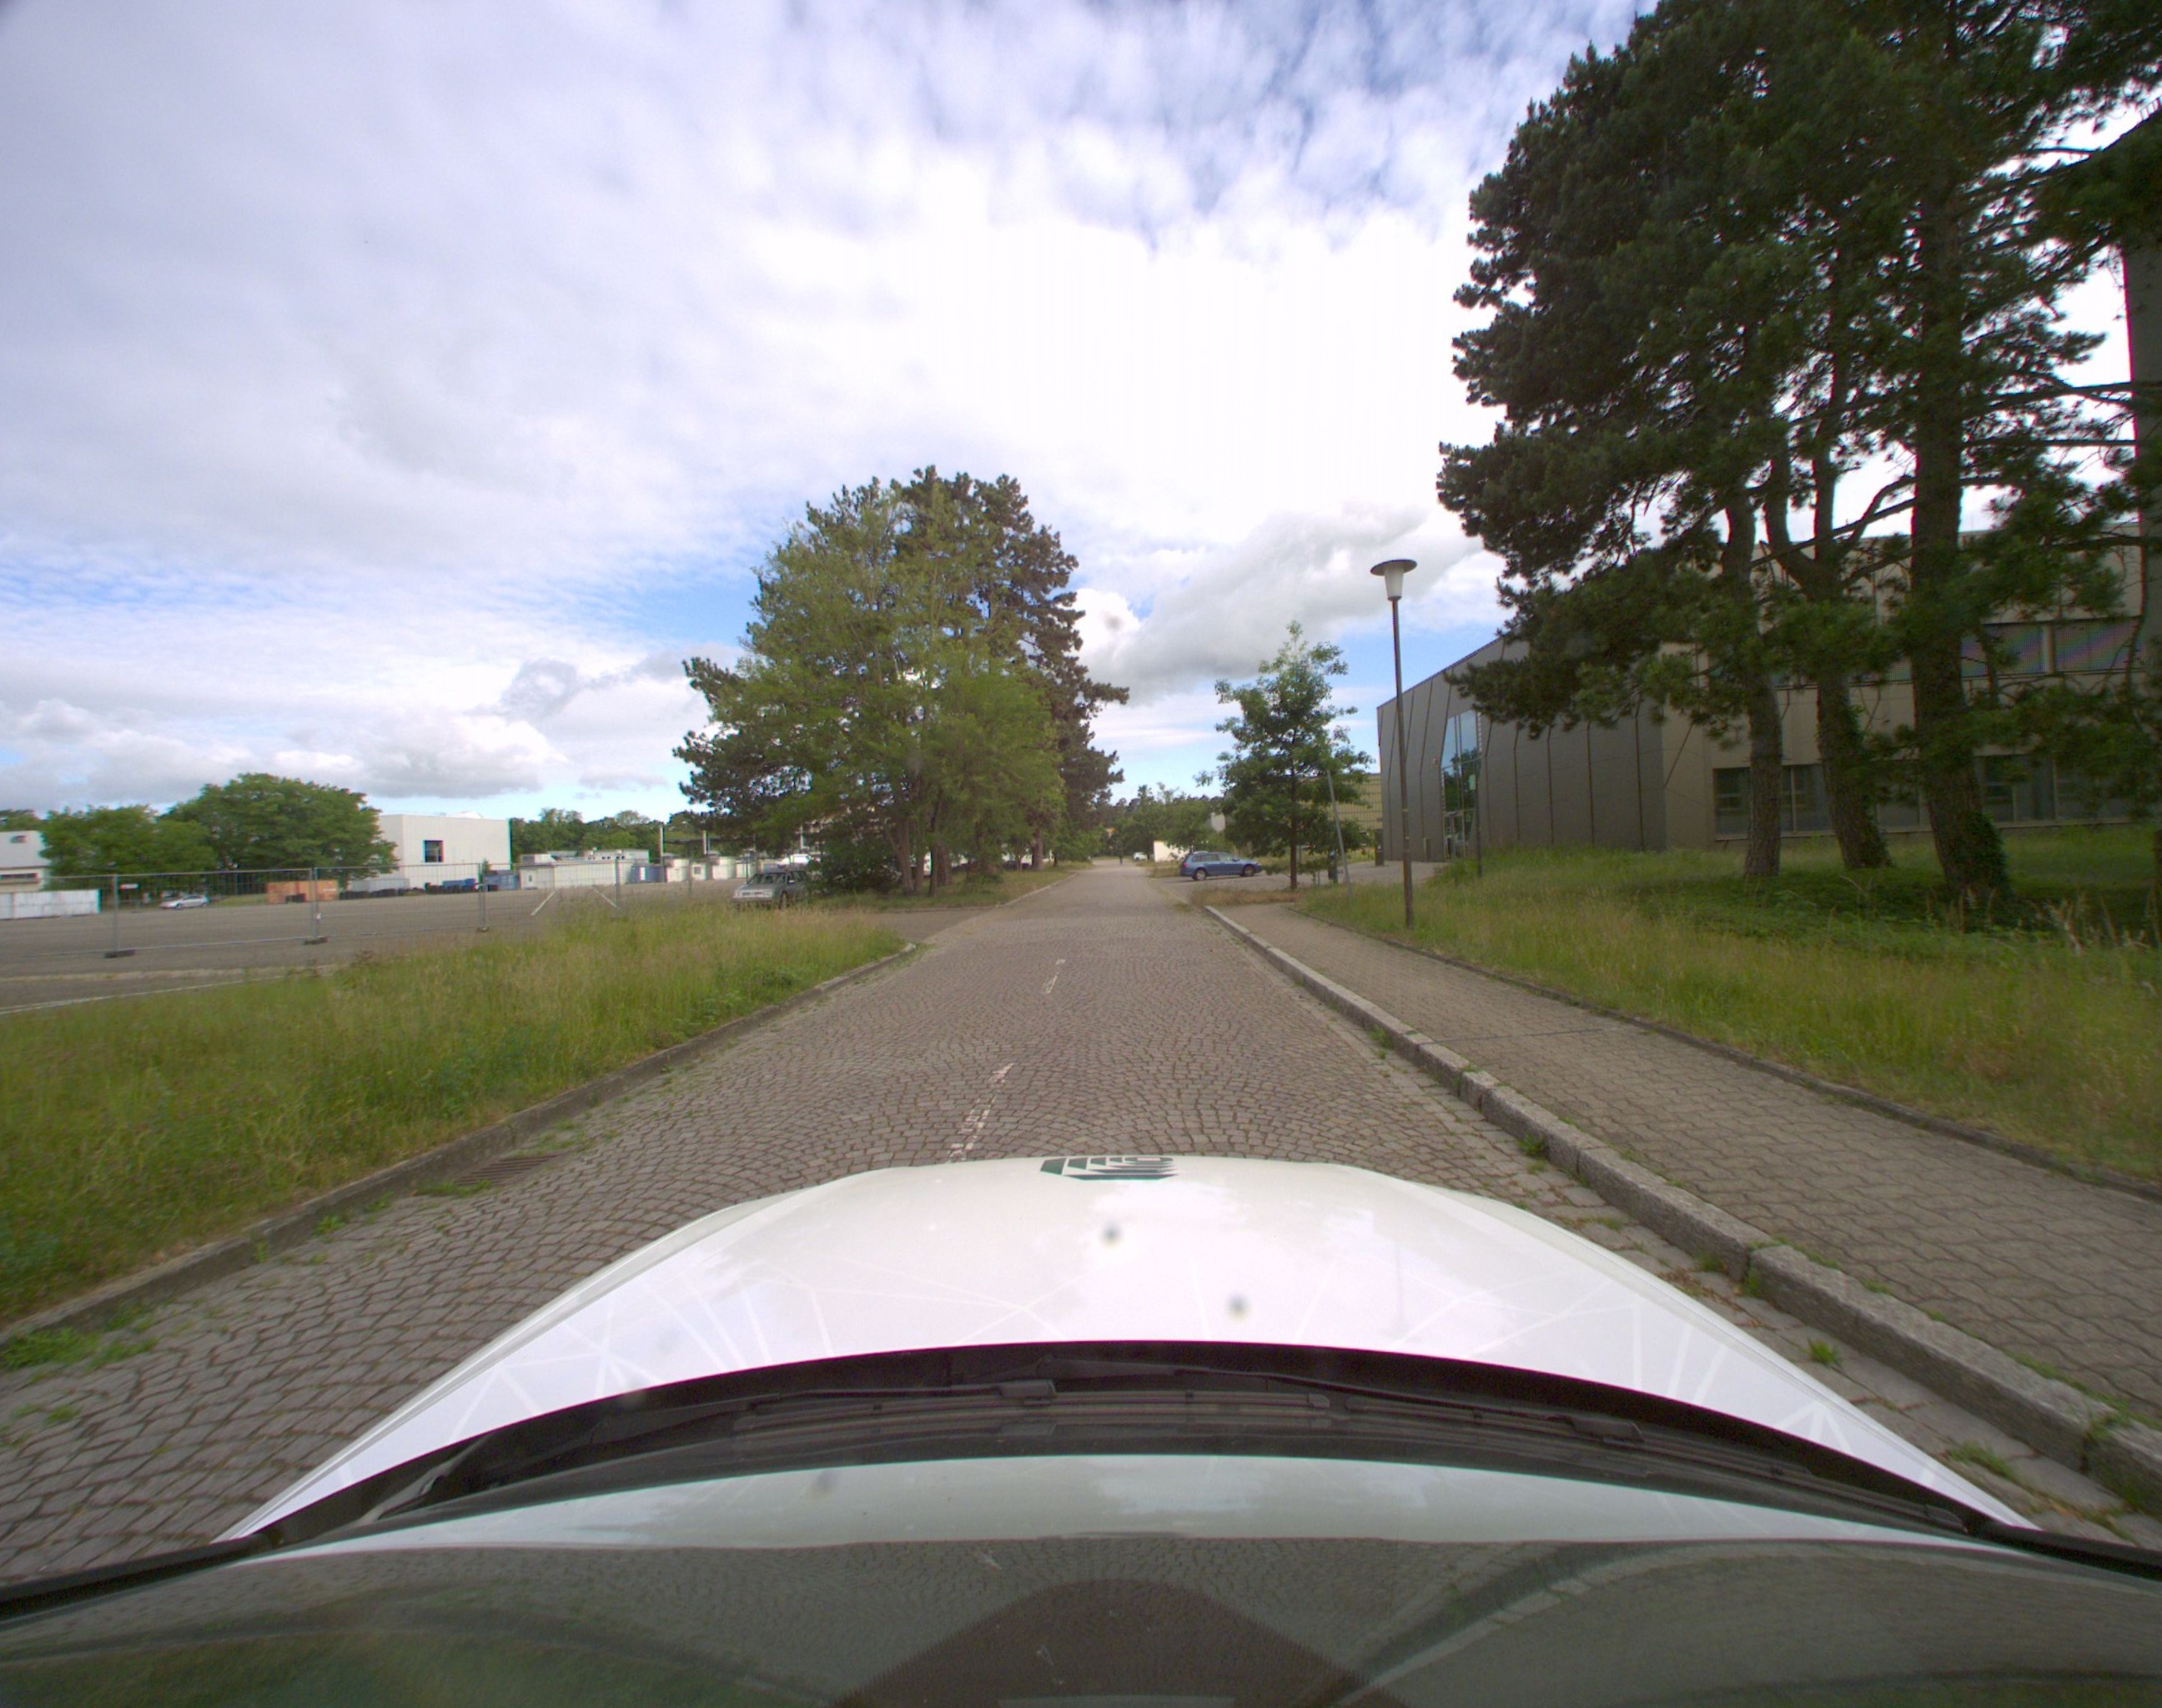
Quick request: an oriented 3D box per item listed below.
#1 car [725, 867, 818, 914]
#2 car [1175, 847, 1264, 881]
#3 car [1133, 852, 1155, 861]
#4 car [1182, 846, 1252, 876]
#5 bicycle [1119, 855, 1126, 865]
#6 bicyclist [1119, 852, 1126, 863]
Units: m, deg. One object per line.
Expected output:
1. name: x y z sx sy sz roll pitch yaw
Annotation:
1. car: -11.529 1.306 30.625 1.723 1.432 4.163 -2 1 2
2. car: 7.569 0.538 44.758 4.467 1.462 1.934 -4 0 0
3. car: 12.774 0.488 164.544 4.303 1.549 2.002 -2 0 3
4. car: 8.655 0.424 52.184 4.094 1.572 1.765 -4 0 0
5. bicycle: 6.007 0.854 117.972 0.820 1.376 2.043 -2 1 2
6. bicyclist: 6.002 0.464 118.013 0.894 1.542 0.868 -2 1 1
